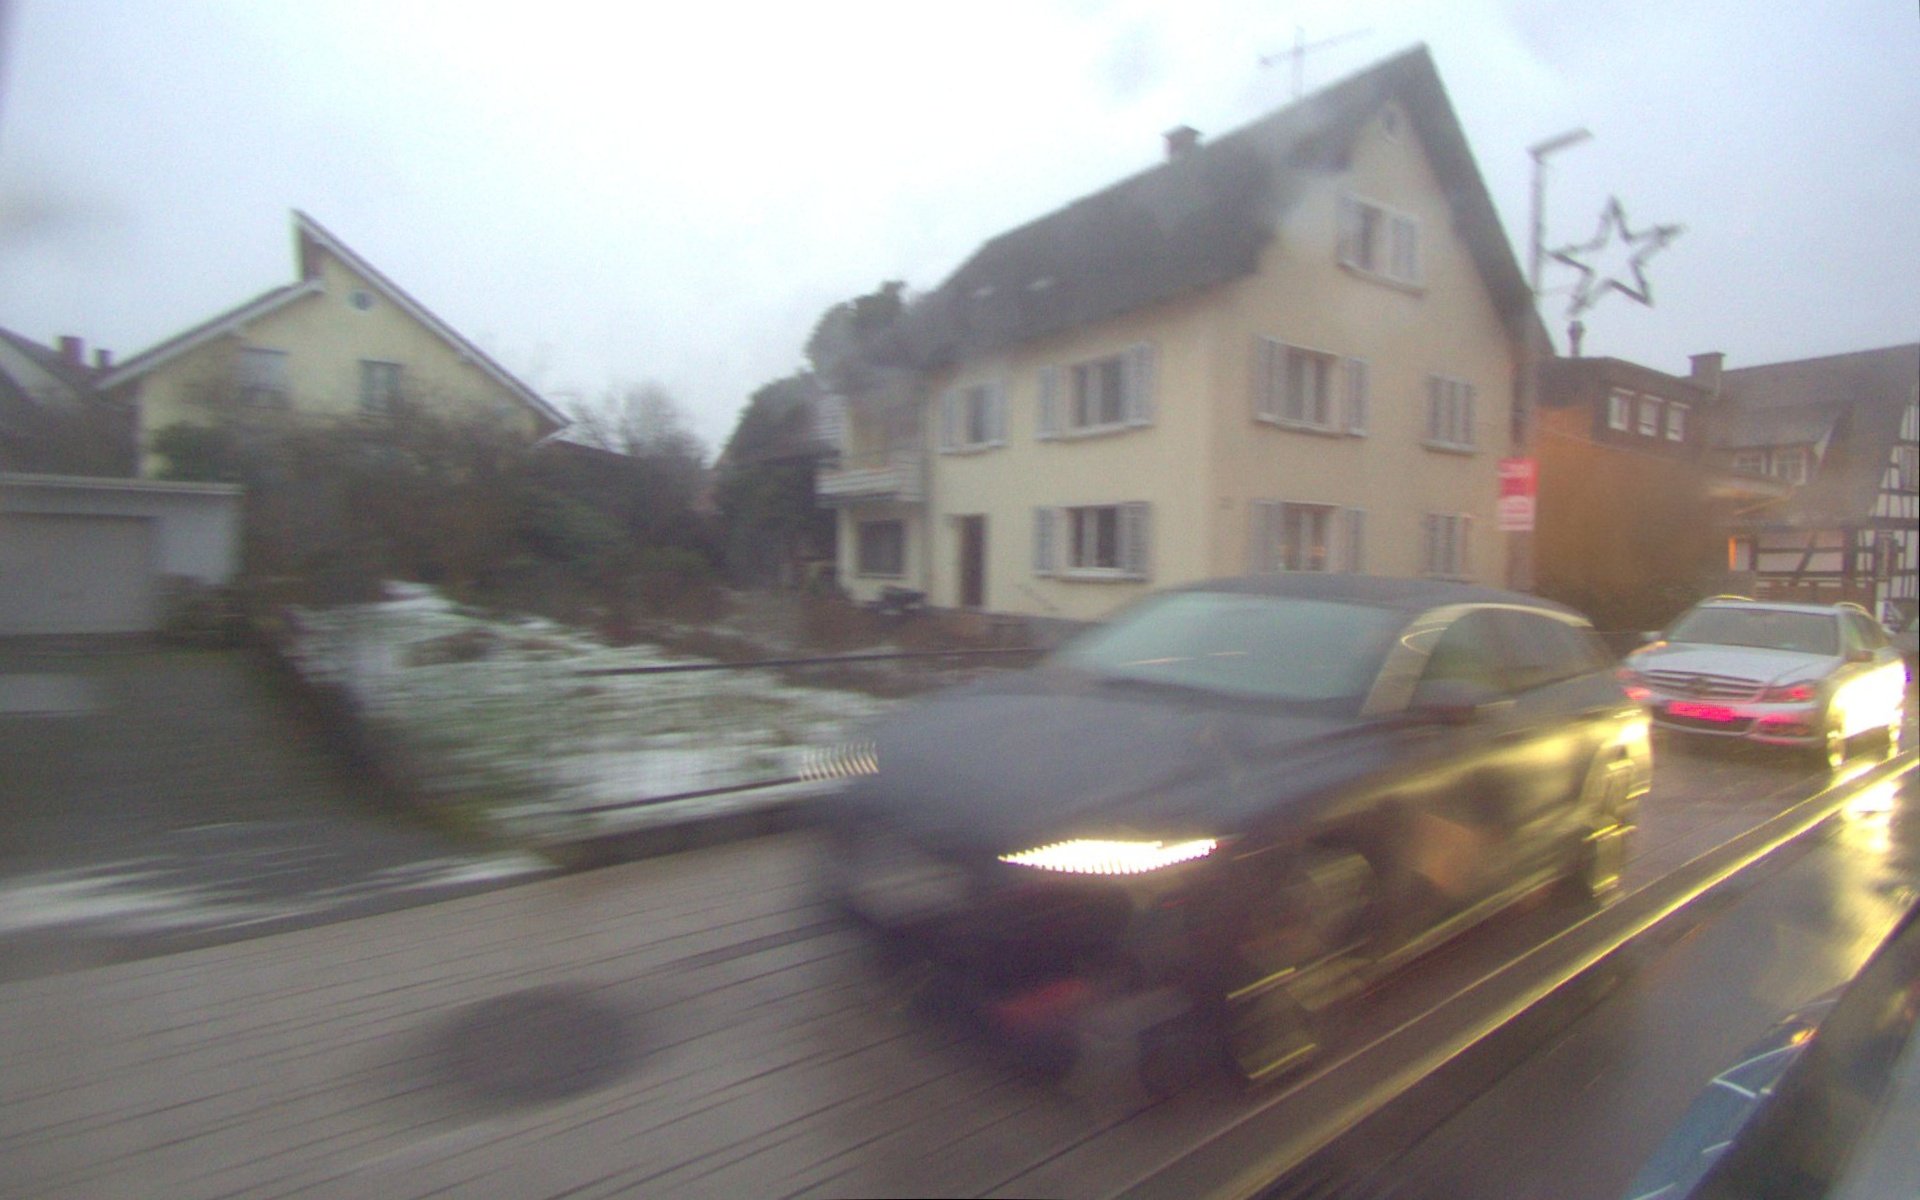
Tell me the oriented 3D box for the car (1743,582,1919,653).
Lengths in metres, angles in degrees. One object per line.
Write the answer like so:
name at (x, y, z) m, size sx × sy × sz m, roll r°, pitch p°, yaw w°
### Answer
car at (22.633, 0.389, 26.236) m, size 1.655 × 1.458 × 3.303 m, roll 0°, pitch 5°, yaw -36°

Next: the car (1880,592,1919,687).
car at (17.084, 0.659, 16.760) m, size 4.522 × 1.440 × 1.829 m, roll 0°, pitch 4°, yaw -37°

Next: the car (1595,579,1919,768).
car at (8.427, 0.585, 10.394) m, size 4.448 × 1.478 × 1.799 m, roll 0°, pitch 3°, yaw -38°

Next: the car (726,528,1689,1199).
car at (1.485, 0.576, 4.569) m, size 4.589 × 1.566 × 1.886 m, roll 0°, pitch 2°, yaw -41°
